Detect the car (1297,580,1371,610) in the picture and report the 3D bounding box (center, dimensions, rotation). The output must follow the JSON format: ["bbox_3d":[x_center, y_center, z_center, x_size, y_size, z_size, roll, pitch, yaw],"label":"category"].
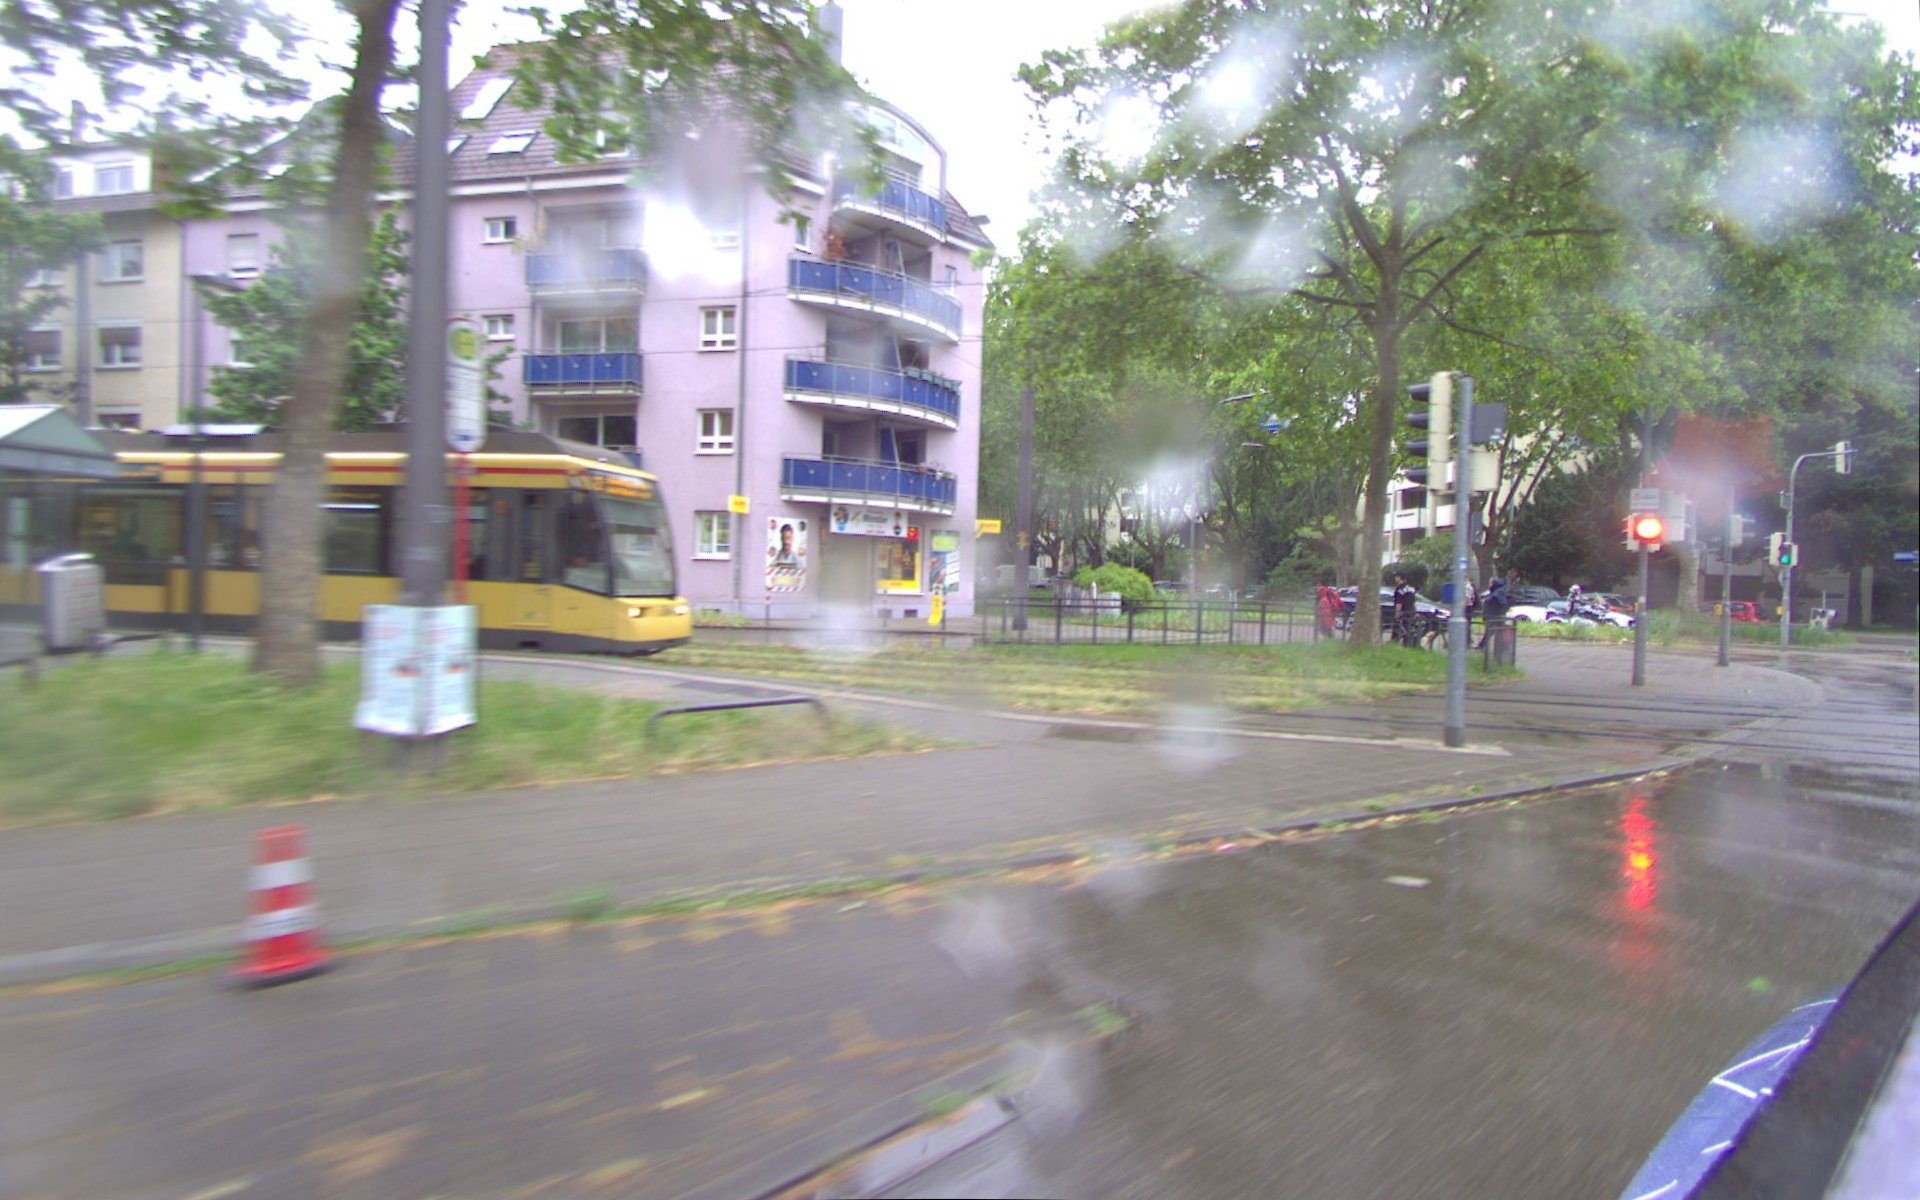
[{"bbox_3d":[22.837,-0.323,61.861,1.892,1.653,4.007,1,1,-26],"label":"car"}]

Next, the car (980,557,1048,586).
[{"bbox_3d":[4.715,-2.480,88.275,5.534,2.431,2.220,2,1,19],"label":"car"}]

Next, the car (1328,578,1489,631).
[{"bbox_3d":[14.015,0.110,31.795,1.958,1.479,4.175,1,1,-38],"label":"car"}]

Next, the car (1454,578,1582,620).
[{"bbox_3d":[24.037,-0.062,43.666,4.510,1.685,1.878,2,1,-6],"label":"car"}]

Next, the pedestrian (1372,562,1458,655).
[{"bbox_3d":[9.264,0.149,20.630,1.019,1.811,1.236,1,1,-38],"label":"pedestrian"}]

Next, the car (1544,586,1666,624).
[{"bbox_3d":[30.288,0.218,47.671,1.901,1.628,4.460,1,1,-31],"label":"car"}]

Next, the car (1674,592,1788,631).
[{"bbox_3d":[33.037,0.473,43.423,1.806,1.544,3.463,1,1,-33],"label":"car"}]

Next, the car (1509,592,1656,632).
[{"bbox_3d":[22.582,0.404,36.813,1.869,1.291,4.167,1,1,-40],"label":"car"}]

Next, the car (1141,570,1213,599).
[{"bbox_3d":[13.528,-0.966,63.299,3.919,1.675,2.003,1,1,-6],"label":"car"}]

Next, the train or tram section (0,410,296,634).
[{"bbox_3d":[-16.072,-1.325,17.659,8.254,3.393,2.634,2,1,15],"label":"train or tram section"}]

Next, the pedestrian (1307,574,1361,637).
[{"bbox_3d":[8.862,0.119,23.983,1.006,1.398,0.664,4,2,40],"label":"pedestrian"}]

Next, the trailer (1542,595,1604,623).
[{"bbox_3d":[20.413,0.298,33.729,1.007,0.852,1.483,1,1,-35],"label":"trailer"}]

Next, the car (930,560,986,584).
[{"bbox_3d":[-0.234,-2.941,107.274,5.527,2.326,2.223,2,1,16],"label":"car"}]

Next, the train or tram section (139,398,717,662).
[{"bbox_3d":[-8.106,-1.045,15.487,8.257,3.411,2.633,2,1,16],"label":"train or tram section"}]

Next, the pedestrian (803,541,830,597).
[{"bbox_3d":[-4.174,-0.900,29.488,0.591,1.622,0.466,2,1,40],"label":"pedestrian"}]

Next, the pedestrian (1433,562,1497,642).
[{"bbox_3d":[11.756,0.036,23.575,0.795,1.803,0.996,1,2,-29],"label":"pedestrian"}]

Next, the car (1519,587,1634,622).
[{"bbox_3d":[27.394,0.183,45.030,1.966,1.384,3.993,1,1,-42],"label":"car"}]

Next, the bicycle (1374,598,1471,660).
[{"bbox_3d":[8.845,0.528,19.397,1.609,1.090,0.440,2,1,36],"label":"bicycle"}]

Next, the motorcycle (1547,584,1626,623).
[{"bbox_3d":[21.210,0.115,34.300,0.864,1.230,2.074,1,1,-36],"label":"motorcycle"}]

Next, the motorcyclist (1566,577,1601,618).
[{"bbox_3d":[21.164,-0.079,34.347,0.744,1.368,0.755,1,1,-36],"label":"motorcyclist"}]

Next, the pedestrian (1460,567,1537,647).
[{"bbox_3d":[11.943,0.138,22.463,0.975,1.707,1.058,2,2,-18],"label":"pedestrian"}]

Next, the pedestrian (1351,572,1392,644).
[{"bbox_3d":[9.332,0.178,22.938,0.754,1.567,0.686,3,2,26],"label":"pedestrian"}]

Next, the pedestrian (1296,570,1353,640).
[{"bbox_3d":[8.432,0.097,23.409,1.056,1.544,0.869,3,2,31],"label":"pedestrian"}]
